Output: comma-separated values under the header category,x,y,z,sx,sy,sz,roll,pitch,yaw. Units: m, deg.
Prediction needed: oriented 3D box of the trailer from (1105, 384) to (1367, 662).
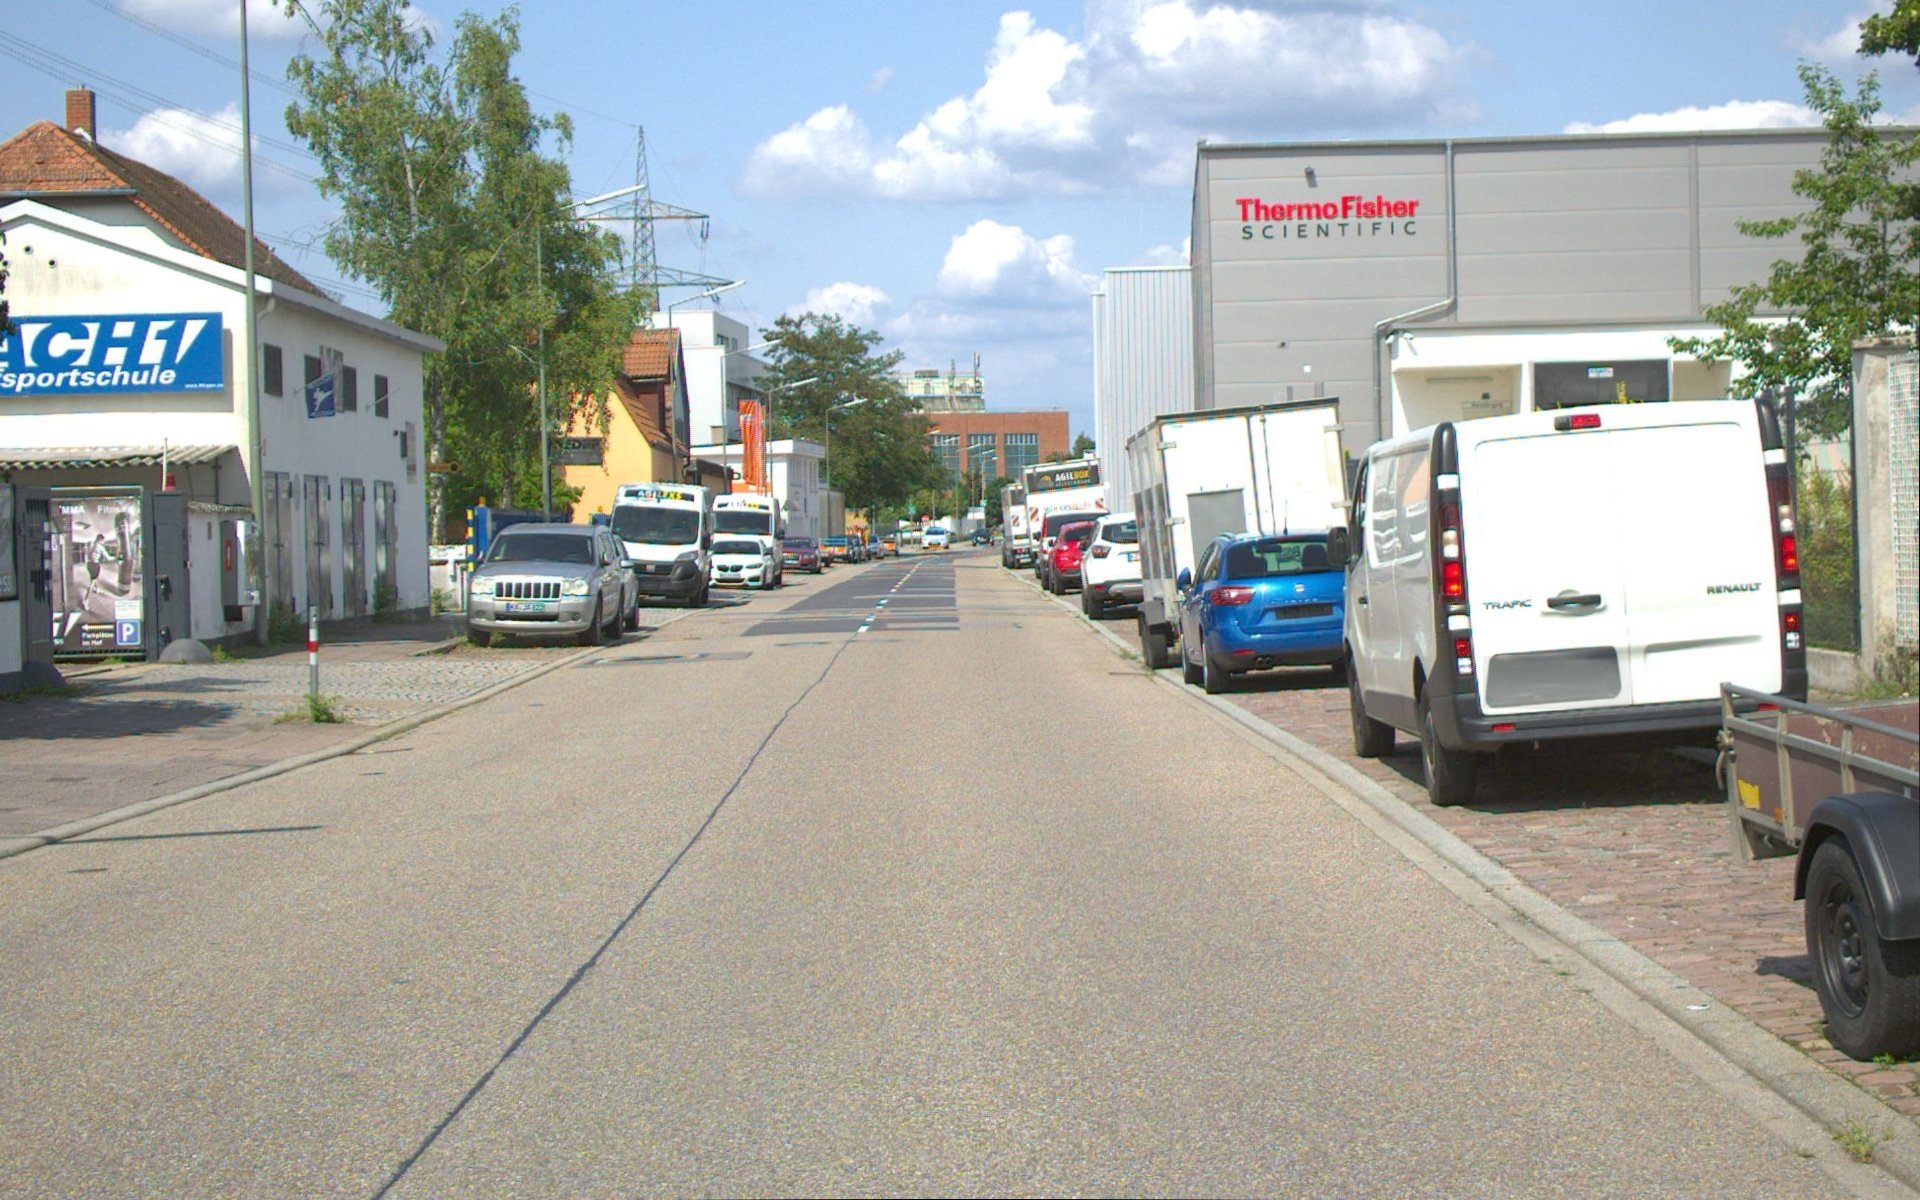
category,x,y,z,sx,sy,sz,roll,pitch,yaw
trailer,2.982,-0.842,38.625,2.204,2.727,6.222,-4,1,0

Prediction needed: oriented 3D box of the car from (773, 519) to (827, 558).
category,x,y,z,sx,sy,sz,roll,pitch,yaw
car,-6.092,-2.327,131.069,1.762,1.442,4.741,1,1,0

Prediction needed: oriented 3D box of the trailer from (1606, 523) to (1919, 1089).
category,x,y,z,sx,sy,sz,roll,pitch,yaw
trailer,3.252,0.483,9.158,1.749,1.412,4.550,-4,1,-5

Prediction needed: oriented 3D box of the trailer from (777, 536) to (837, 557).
category,x,y,z,sx,sy,sz,roll,pitch,yaw
trailer,-6.632,-2.322,149.942,2.362,0.890,5.569,1,1,0

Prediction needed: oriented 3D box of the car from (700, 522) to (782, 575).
category,x,y,z,sx,sy,sz,roll,pitch,yaw
car,-5.851,-1.383,92.310,1.796,1.392,4.502,0,1,1

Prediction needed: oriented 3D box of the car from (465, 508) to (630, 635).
category,x,y,z,sx,sy,sz,roll,pitch,yaw
car,-5.899,-0.441,49.655,1.791,1.713,4.752,1,1,0

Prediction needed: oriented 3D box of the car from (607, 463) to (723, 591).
category,x,y,z,sx,sy,sz,roll,pitch,yaw
car,-6.163,-1.517,72.556,2.030,2.549,6.658,1,1,-2

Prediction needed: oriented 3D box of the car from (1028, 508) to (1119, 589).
category,x,y,z,sx,sy,sz,roll,pitch,yaw
car,2.479,-1.134,75.817,1.704,1.619,4.093,-4,1,-1

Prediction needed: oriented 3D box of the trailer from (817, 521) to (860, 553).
category,x,y,z,sx,sy,sz,roll,pitch,yaw
trailer,-6.025,-3.155,170.953,1.993,1.551,4.254,-1,1,0

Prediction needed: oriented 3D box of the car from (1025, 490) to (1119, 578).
category,x,y,z,sx,sy,sz,roll,pitch,yaw
car,2.694,-1.620,83.690,2.054,1.897,5.147,-5,1,1

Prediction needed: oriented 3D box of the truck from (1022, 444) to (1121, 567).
category,x,y,z,sx,sy,sz,roll,pitch,yaw
truck,3.230,-2.750,101.180,2.458,3.282,6.818,-6,1,1

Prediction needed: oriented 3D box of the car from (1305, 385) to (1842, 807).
category,x,y,z,sx,sy,sz,roll,pitch,yaw
car,3.283,-0.074,19.622,1.993,2.007,5.650,-2,1,0

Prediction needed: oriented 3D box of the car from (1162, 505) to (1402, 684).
category,x,y,z,sx,sy,sz,roll,pitch,yaw
car,2.927,-0.074,31.992,1.690,1.456,4.071,-4,1,-1

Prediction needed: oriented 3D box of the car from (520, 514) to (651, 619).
category,x,y,z,sx,sy,sz,roll,pitch,yaw
car,-5.946,-0.559,54.811,1.609,1.568,3.009,2,2,2

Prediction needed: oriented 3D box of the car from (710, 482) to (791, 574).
category,x,y,z,sx,sy,sz,roll,pitch,yaw
car,-6.038,-2.071,99.611,2.026,2.552,6.840,0,1,-1

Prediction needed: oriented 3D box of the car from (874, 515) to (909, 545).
category,x,y,z,sx,sy,sz,roll,pitch,yaw
car,-4.173,-4.243,209.964,1.922,1.787,4.000,0,1,3

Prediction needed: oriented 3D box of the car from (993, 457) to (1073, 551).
category,x,y,z,sx,sy,sz,roll,pitch,yaw
car,2.770,-3.667,132.237,2.388,3.351,6.646,-4,1,-3

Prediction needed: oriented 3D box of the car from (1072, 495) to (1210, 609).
category,x,y,z,sx,sy,sz,roll,pitch,yaw
car,2.965,-0.829,57.107,1.935,1.687,4.680,-4,1,0

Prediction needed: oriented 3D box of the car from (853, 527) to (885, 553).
category,x,y,z,sx,sy,sz,roll,pitch,yaw
car,-5.081,-3.336,192.026,1.668,1.442,3.454,1,1,1

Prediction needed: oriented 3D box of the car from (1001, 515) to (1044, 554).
category,x,y,z,sx,sy,sz,roll,pitch,yaw
car,2.644,-2.742,144.818,1.768,1.606,3.873,-1,1,1
